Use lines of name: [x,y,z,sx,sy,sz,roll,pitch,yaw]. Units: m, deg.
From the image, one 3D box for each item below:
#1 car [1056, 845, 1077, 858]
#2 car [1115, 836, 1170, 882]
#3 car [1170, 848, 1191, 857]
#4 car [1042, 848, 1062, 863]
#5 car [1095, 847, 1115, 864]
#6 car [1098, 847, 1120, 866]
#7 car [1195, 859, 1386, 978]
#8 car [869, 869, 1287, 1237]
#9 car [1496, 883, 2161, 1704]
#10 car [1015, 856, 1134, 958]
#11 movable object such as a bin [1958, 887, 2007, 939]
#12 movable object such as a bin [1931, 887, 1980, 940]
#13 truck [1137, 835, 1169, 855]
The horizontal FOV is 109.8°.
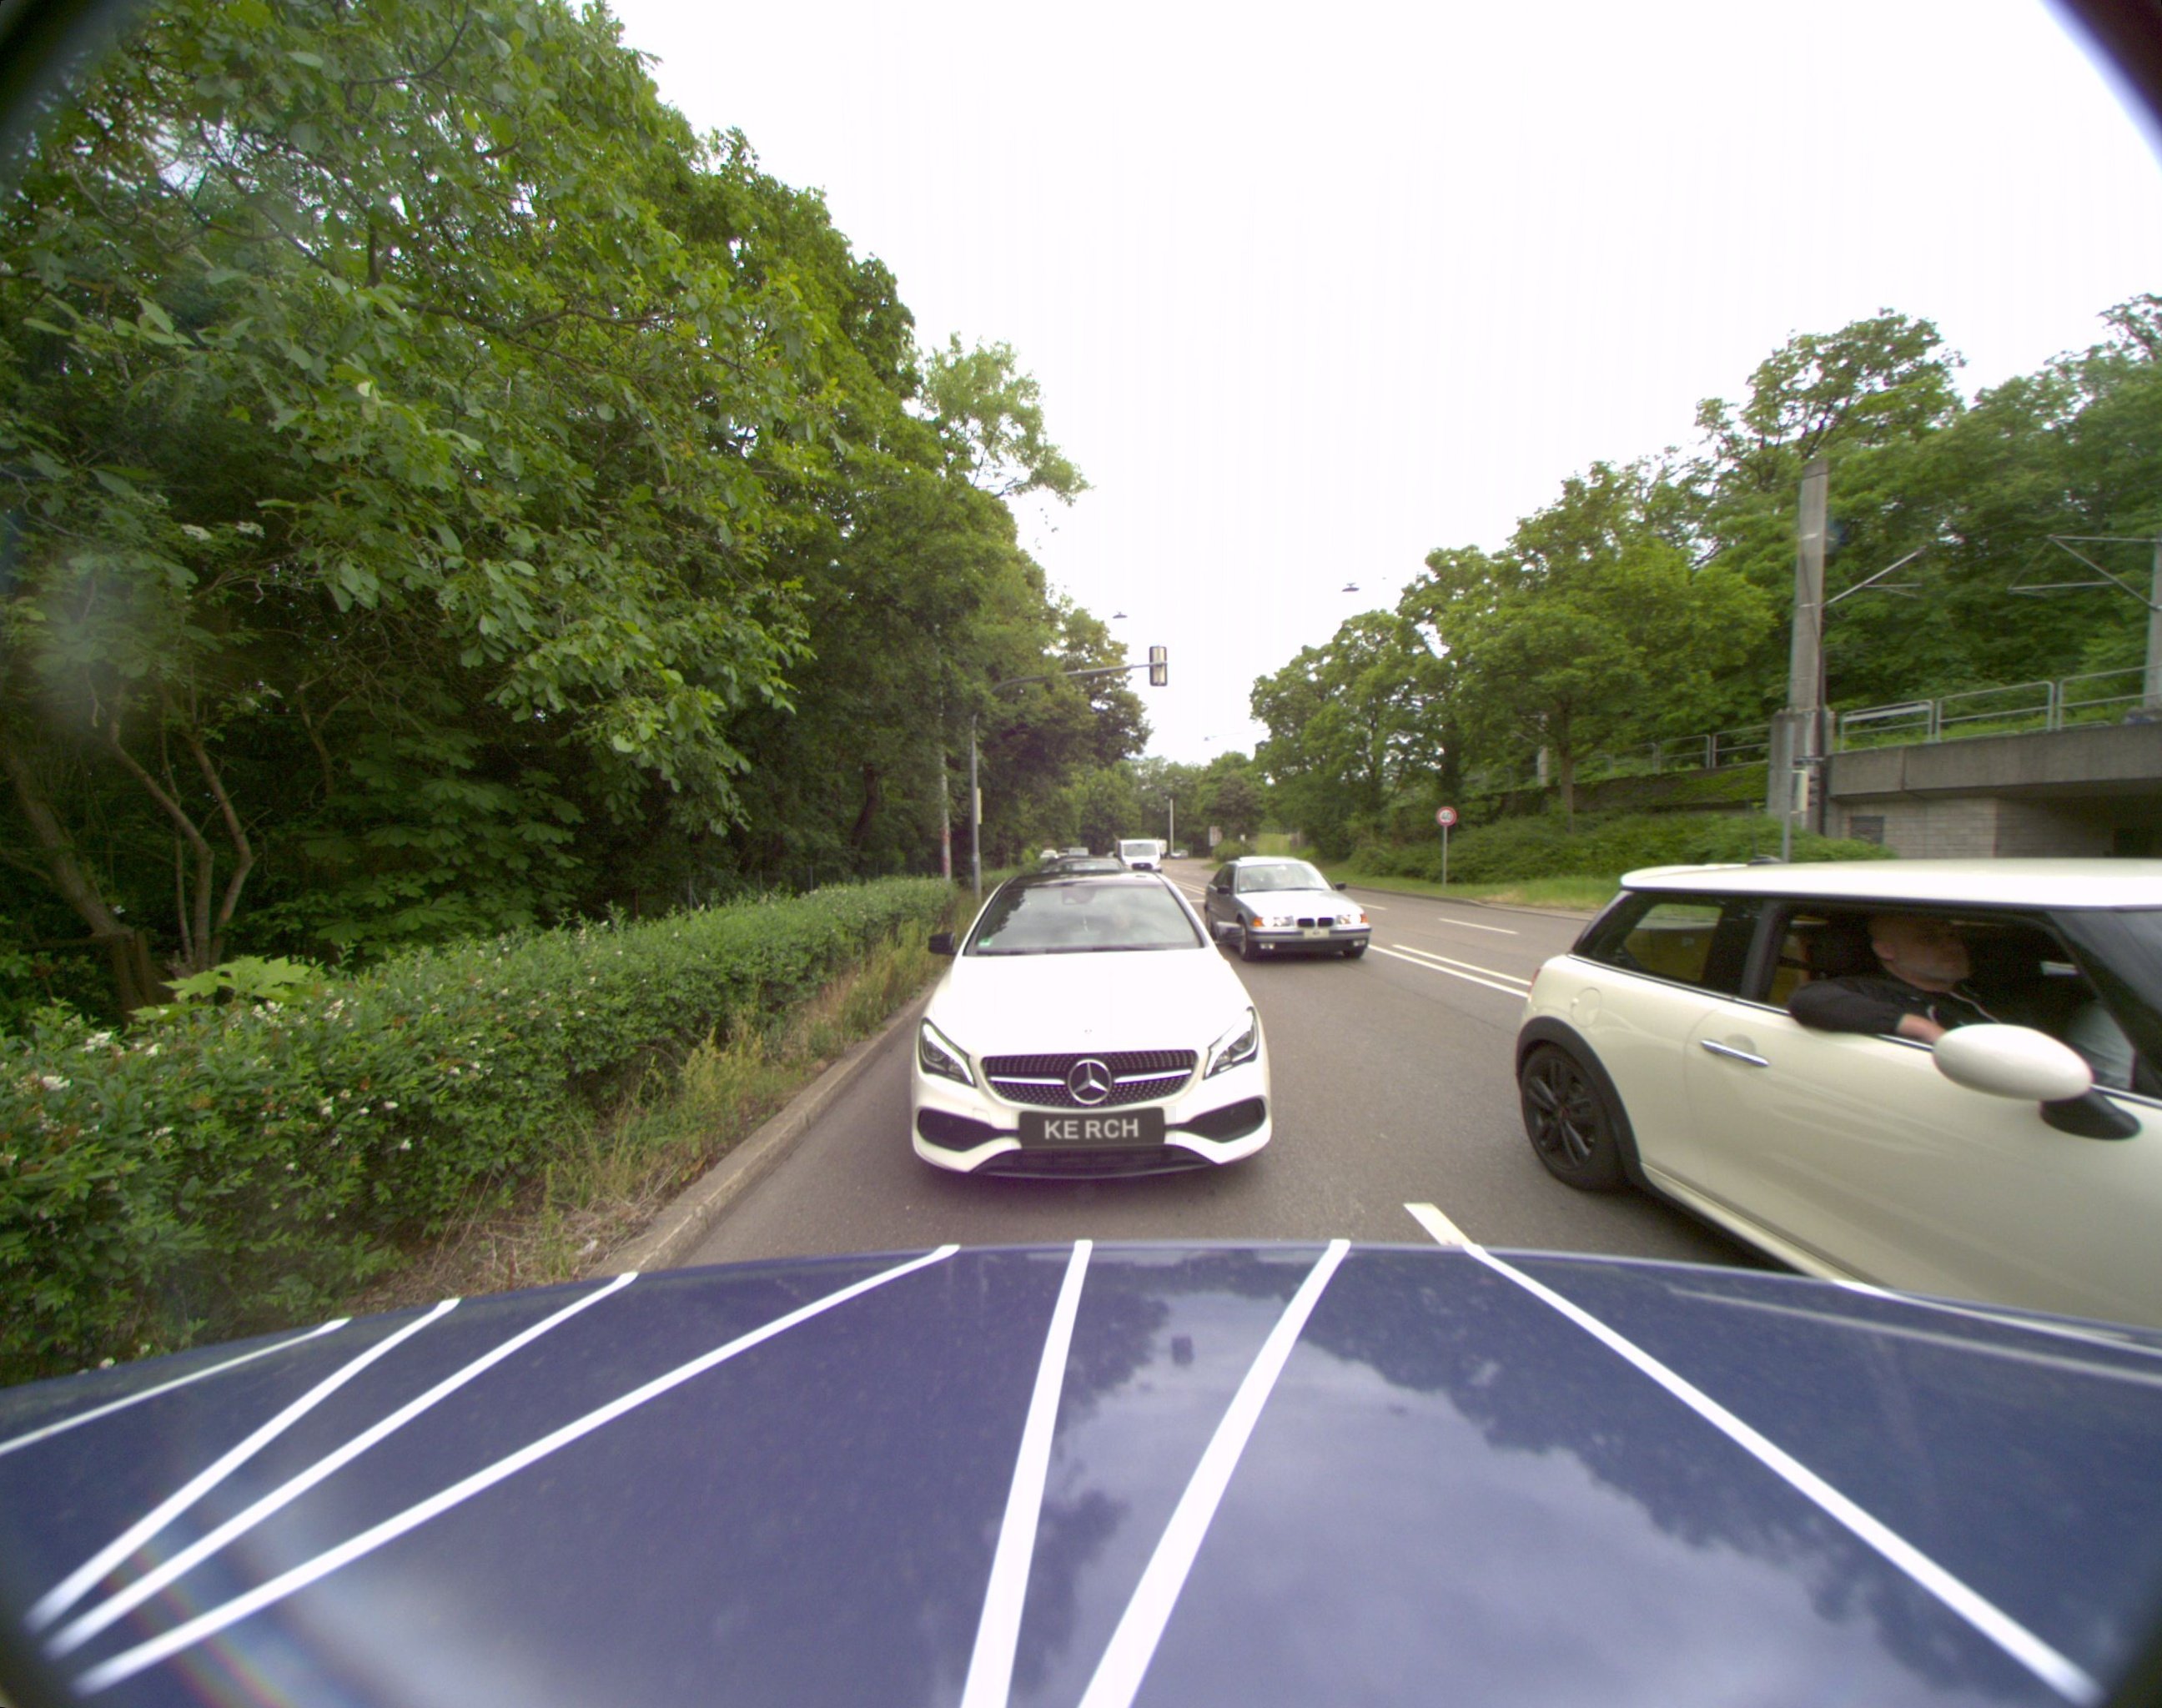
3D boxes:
car: [-1.724,-0.295,90.018,1.754,1.575,4.013,1,0,10]
car: [3.097,0.221,39.633,2.285,2.187,6.458,-1,0,0]
car: [17.122,-0.246,130.690,1.751,1.354,4.019,4,1,35]
car: [-2.814,0.133,74.813,1.765,1.433,3.891,1,0,0]
car: [2.451,0.123,76.247,1.854,1.641,4.358,1,0,3]
car: [2.412,0.224,66.973,1.855,1.583,4.000,0,0,1]
car: [2.919,0.814,11.537,1.664,1.382,4.182,-1,0,-1]
car: [0.012,0.930,5.391,1.801,1.470,4.010,-2,0,1]
car: [2.868,0.878,1.791,1.688,1.415,3.732,-1,0,-1]
car: [-0.116,0.820,13.711,1.755,1.417,4.009,3,1,-1]
movable object such as a bin: [19.048,1.234,16.066,0.419,1.057,0.503,0,1,-4]
movable object such as a bin: [18.324,1.236,15.923,0.419,1.057,0.503,0,1,-4]
truck: [11.708,-1.373,122.463,2.195,3.137,6.665,2,1,33]
